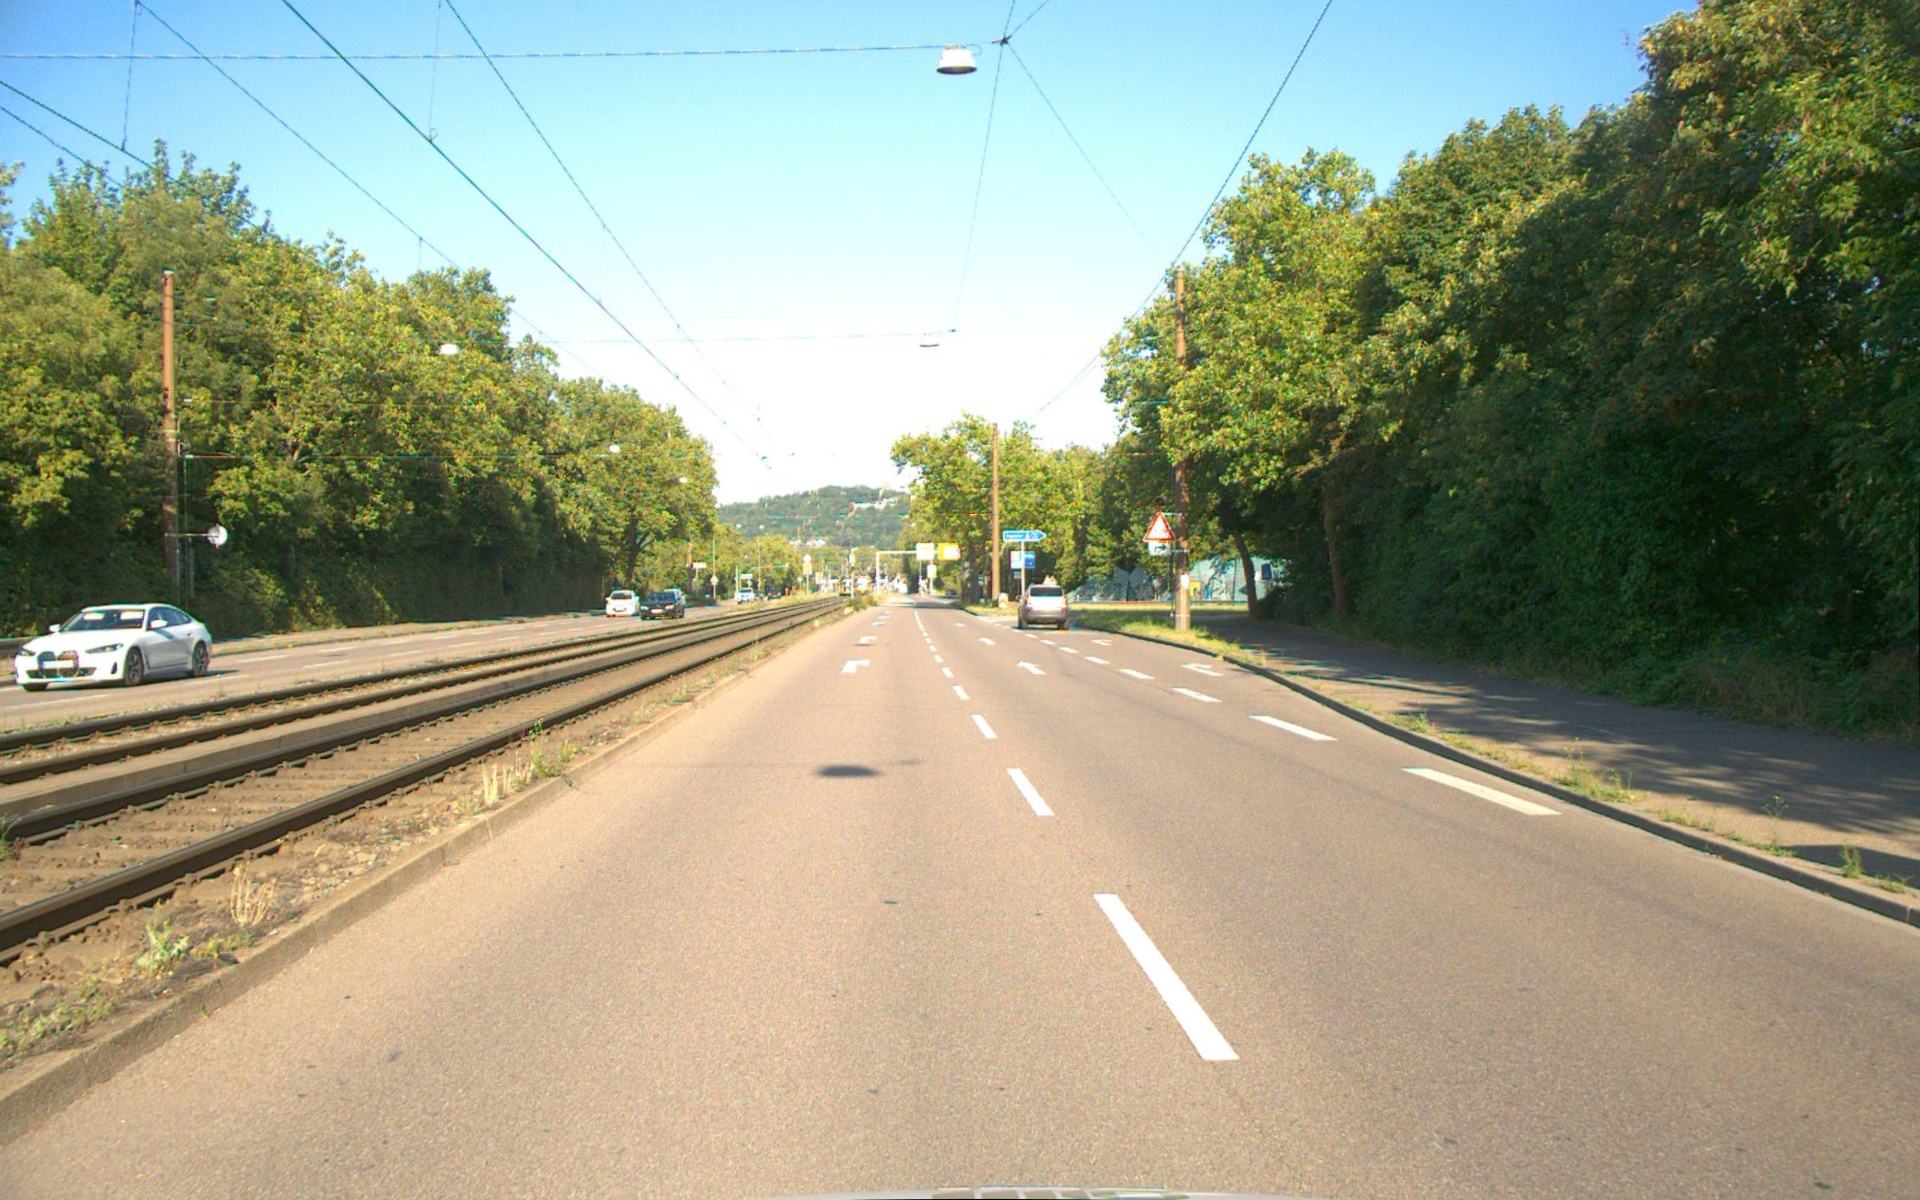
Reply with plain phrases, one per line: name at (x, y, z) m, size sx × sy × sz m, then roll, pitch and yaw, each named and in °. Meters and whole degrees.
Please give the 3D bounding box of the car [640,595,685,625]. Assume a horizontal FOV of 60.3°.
car at (-15.431, 0.505, 85.910) m, size 1.624 × 1.457 × 4.500 m, roll -2°, pitch 0°, yaw -2°

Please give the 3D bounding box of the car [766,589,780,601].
car at (-28.104, -0.711, 248.193) m, size 1.861 × 1.724 × 4.937 m, roll -2°, pitch 0°, yaw -4°

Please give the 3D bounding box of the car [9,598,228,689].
car at (-15.215, 0.738, 30.229) m, size 1.720 × 1.439 × 4.874 m, roll -3°, pitch 0°, yaw -4°

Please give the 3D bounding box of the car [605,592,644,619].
car at (-20.781, 0.318, 102.532) m, size 1.657 × 1.583 × 4.189 m, roll -2°, pitch 0°, yaw -2°

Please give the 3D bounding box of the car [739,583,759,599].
car at (-24.281, -1.071, 190.650) m, size 1.924 × 1.737 × 4.940 m, roll -2°, pitch 0°, yaw -5°

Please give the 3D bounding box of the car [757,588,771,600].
car at (-25.943, -0.835, 218.990) m, size 1.677 × 1.493 × 4.344 m, roll -3°, pitch 0°, yaw -4°

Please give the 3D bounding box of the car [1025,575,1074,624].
car at (3.413, -0.016, 63.665) m, size 1.771 × 1.804 × 3.863 m, roll 1°, pitch 0°, yaw 2°
